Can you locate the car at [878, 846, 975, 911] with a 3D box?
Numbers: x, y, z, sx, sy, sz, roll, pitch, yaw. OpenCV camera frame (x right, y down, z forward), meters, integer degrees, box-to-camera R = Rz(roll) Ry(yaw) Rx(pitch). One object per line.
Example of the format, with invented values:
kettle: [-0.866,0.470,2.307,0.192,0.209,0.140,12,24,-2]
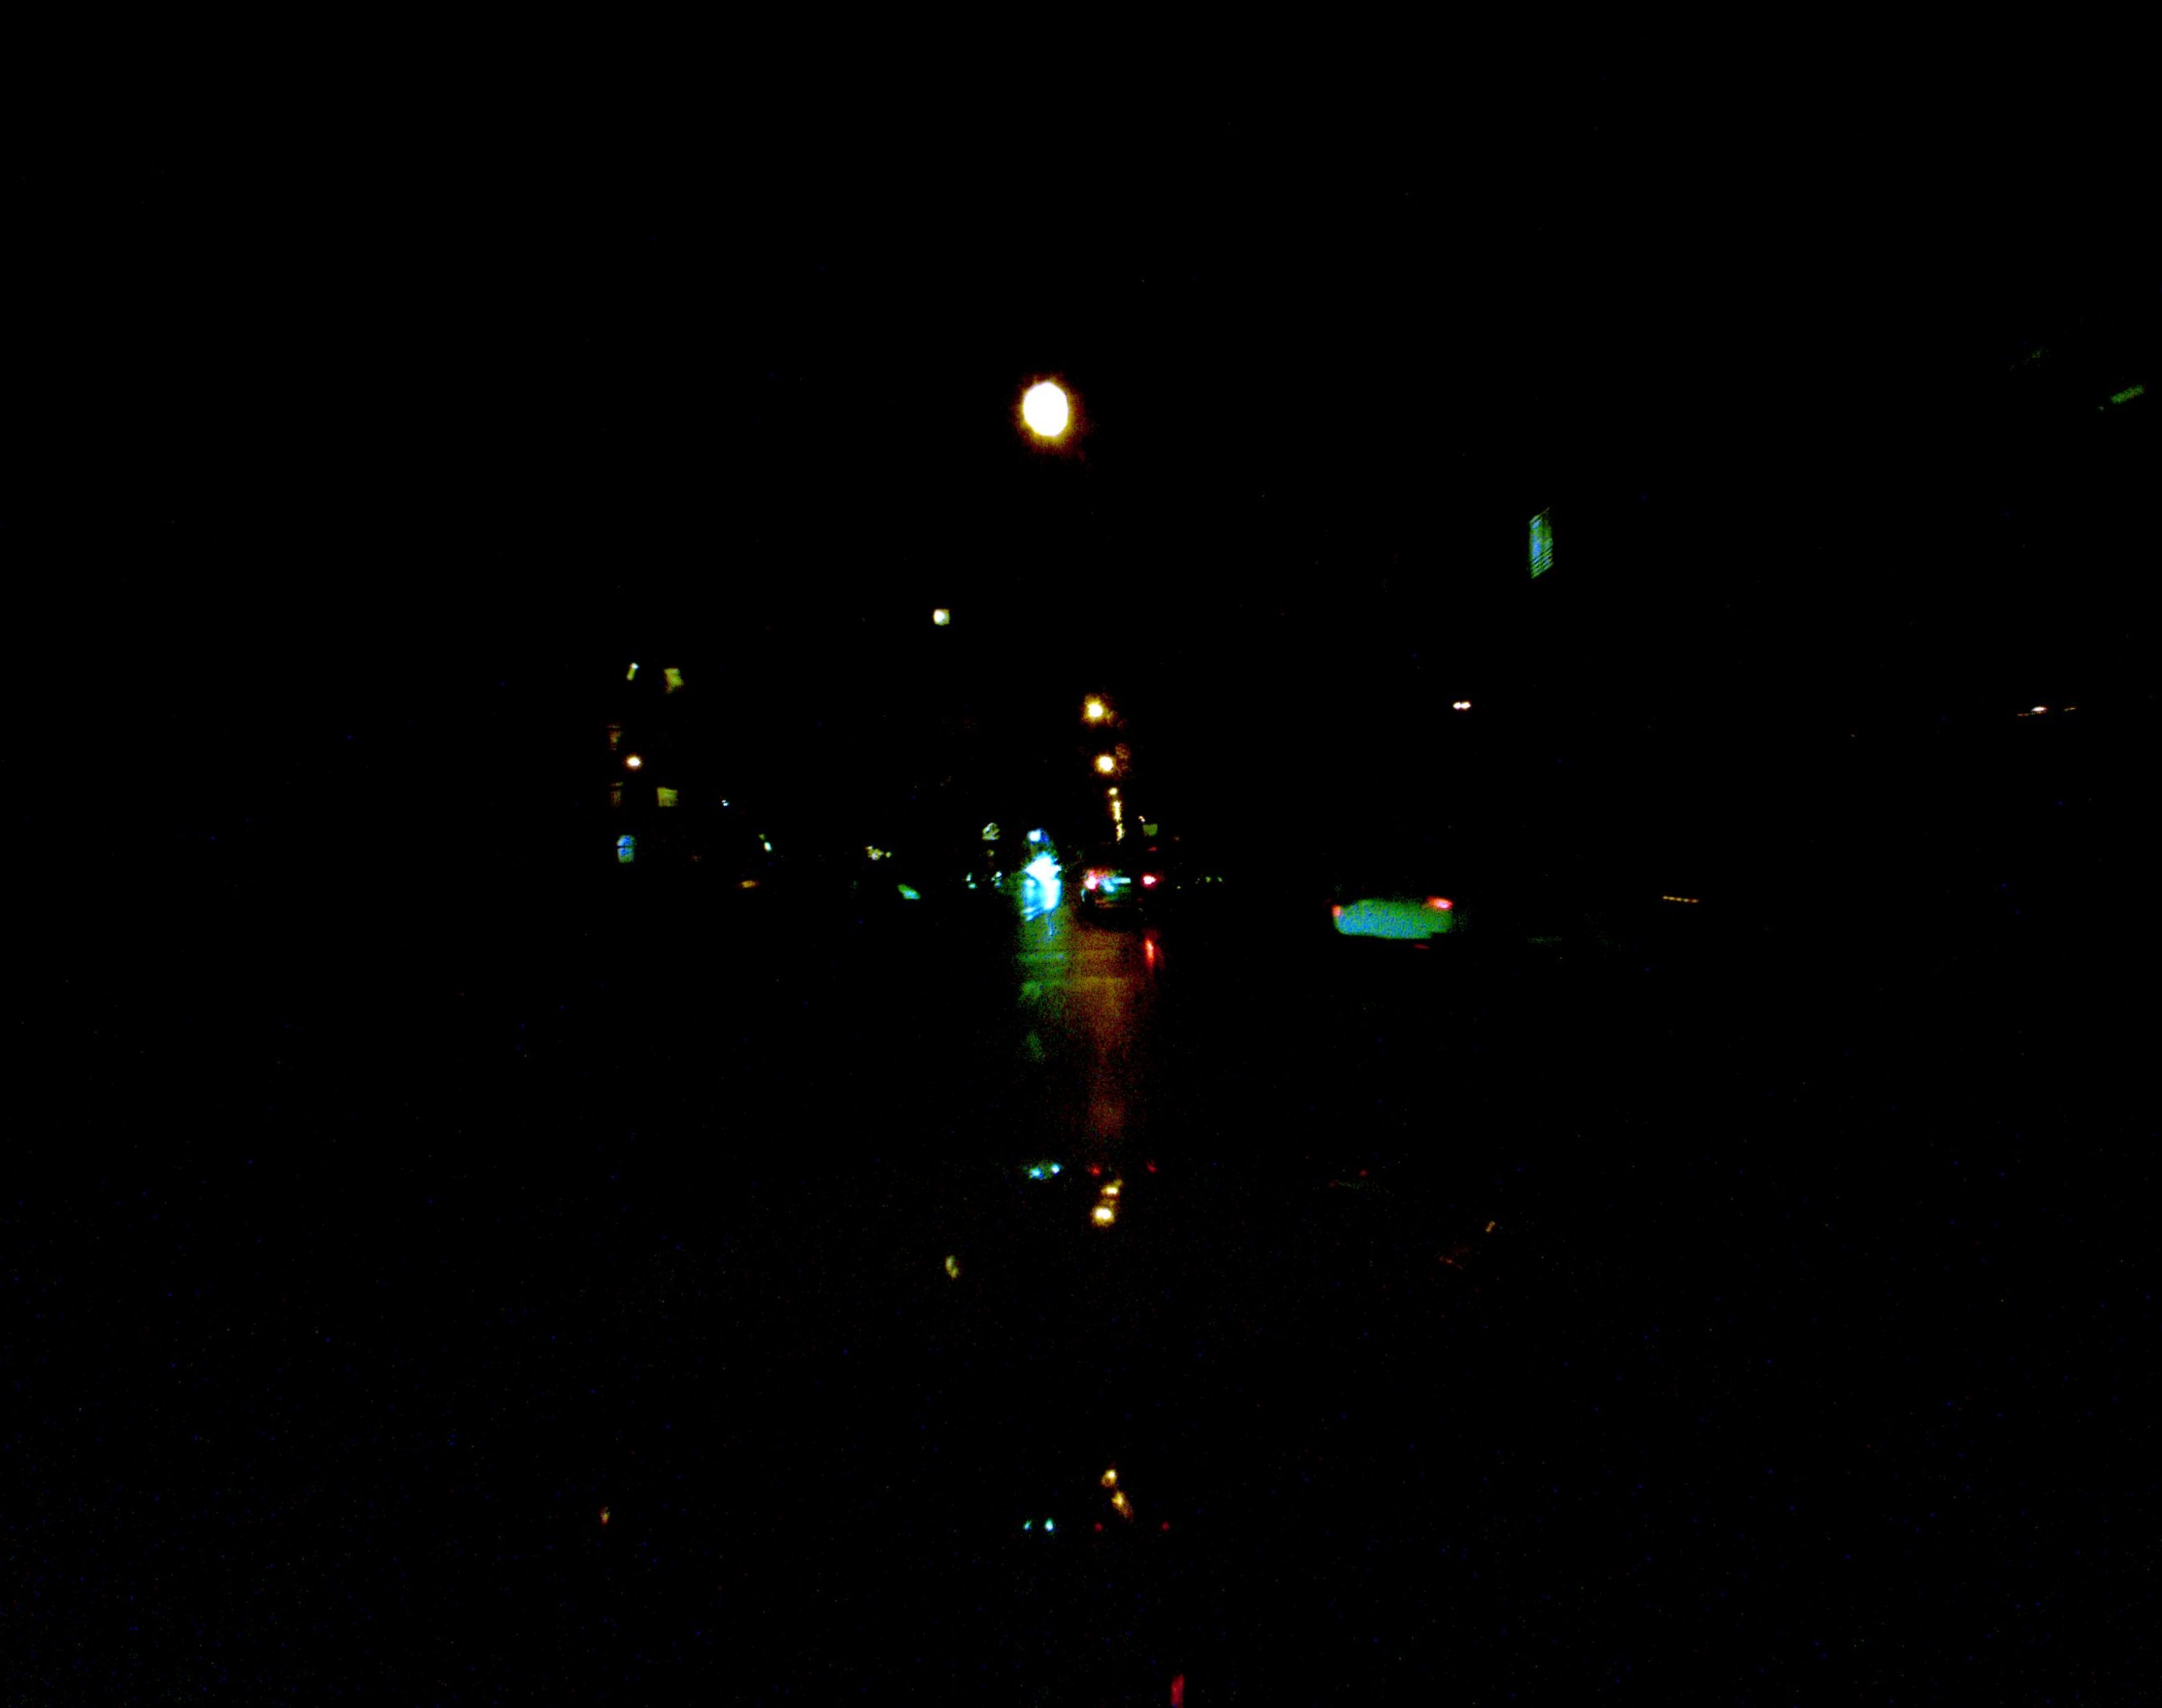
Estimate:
car: [-4.881,0.732,26.455,1.858,1.846,4.832,-2,0,4]

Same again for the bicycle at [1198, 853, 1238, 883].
bicycle: [5.807,0.595,34.496,1.591,1.158,0.417,-3,0,-1]

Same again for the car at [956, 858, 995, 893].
car: [-4.677,0.905,35.671,1.546,1.443,3.551,1,0,-10]

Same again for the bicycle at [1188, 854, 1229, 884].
bicycle: [5.309,0.631,33.996,1.591,1.158,0.417,-3,0,-1]

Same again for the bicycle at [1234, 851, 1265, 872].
bicycle: [10.031,0.454,48.563,1.682,1.146,0.428,-4,0,-6]

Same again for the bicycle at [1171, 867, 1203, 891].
bicycle: [4.203,1.000,32.379,1.207,0.948,0.302,-1,0,-1]

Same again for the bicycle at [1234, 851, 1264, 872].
bicycle: [10.253,0.475,49.666,1.682,1.146,0.485,-4,0,-6]

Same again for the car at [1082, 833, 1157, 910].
car: [1.138,0.498,23.729,1.985,2.050,4.003,-1,-1,3]

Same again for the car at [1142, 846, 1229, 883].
car: [4.996,0.514,38.952,3.716,1.522,1.644,-3,-1,-23]

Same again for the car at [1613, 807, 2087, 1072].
car: [6.188,0.491,6.496,3.740,1.468,1.598,-4,-1,-29]

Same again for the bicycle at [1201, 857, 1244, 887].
bicycle: [5.708,0.733,32.826,1.591,1.112,0.417,-3,0,-1]

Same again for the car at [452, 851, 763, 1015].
car: [-5.849,0.829,10.804,1.809,1.670,4.403,-1,0,-5]

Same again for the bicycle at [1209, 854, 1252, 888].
bicycle: [5.801,0.661,31.608,1.572,1.234,0.418,-3,0,5]

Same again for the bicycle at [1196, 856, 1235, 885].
bicycle: [5.806,0.722,35.198,1.585,1.158,0.541,-3,0,10]

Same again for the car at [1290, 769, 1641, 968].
car: [5.650,0.127,11.814,4.959,2.341,2.209,-2,0,-32]

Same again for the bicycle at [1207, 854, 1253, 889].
bicycle: [5.672,0.664,31.095,1.656,1.234,0.386,-3,0,5]

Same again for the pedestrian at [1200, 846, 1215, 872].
pedestrian: [9.605,0.372,61.846,0.836,1.835,0.947,-6,-2,-1]

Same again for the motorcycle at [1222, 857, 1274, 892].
motorcycle: [5.940,0.716,29.001,1.629,1.124,0.652,-4,0,-5]

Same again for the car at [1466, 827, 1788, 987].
car: [6.376,0.514,9.484,3.463,1.468,1.615,-3,-1,-28]

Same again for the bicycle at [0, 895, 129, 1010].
bicycle: [-11.654,1.089,9.176,1.947,1.180,0.544,-2,-1,20]

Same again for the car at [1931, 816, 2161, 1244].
car: [5.855,0.576,3.615,4.061,1.561,1.735,-2,0,-27]

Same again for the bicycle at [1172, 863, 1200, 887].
bicycle: [4.437,0.877,34.551,1.128,0.974,0.249,-2,0,0]

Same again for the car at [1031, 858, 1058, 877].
car: [-2.715,1.014,61.659,1.647,1.359,4.225,-1,0,3]

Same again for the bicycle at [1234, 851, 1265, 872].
bicycle: [10.169,0.471,49.134,1.682,1.146,0.428,-4,0,-6]

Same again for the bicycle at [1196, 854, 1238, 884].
bicycle: [5.594,0.623,33.559,1.591,1.158,0.417,-3,0,-1]
